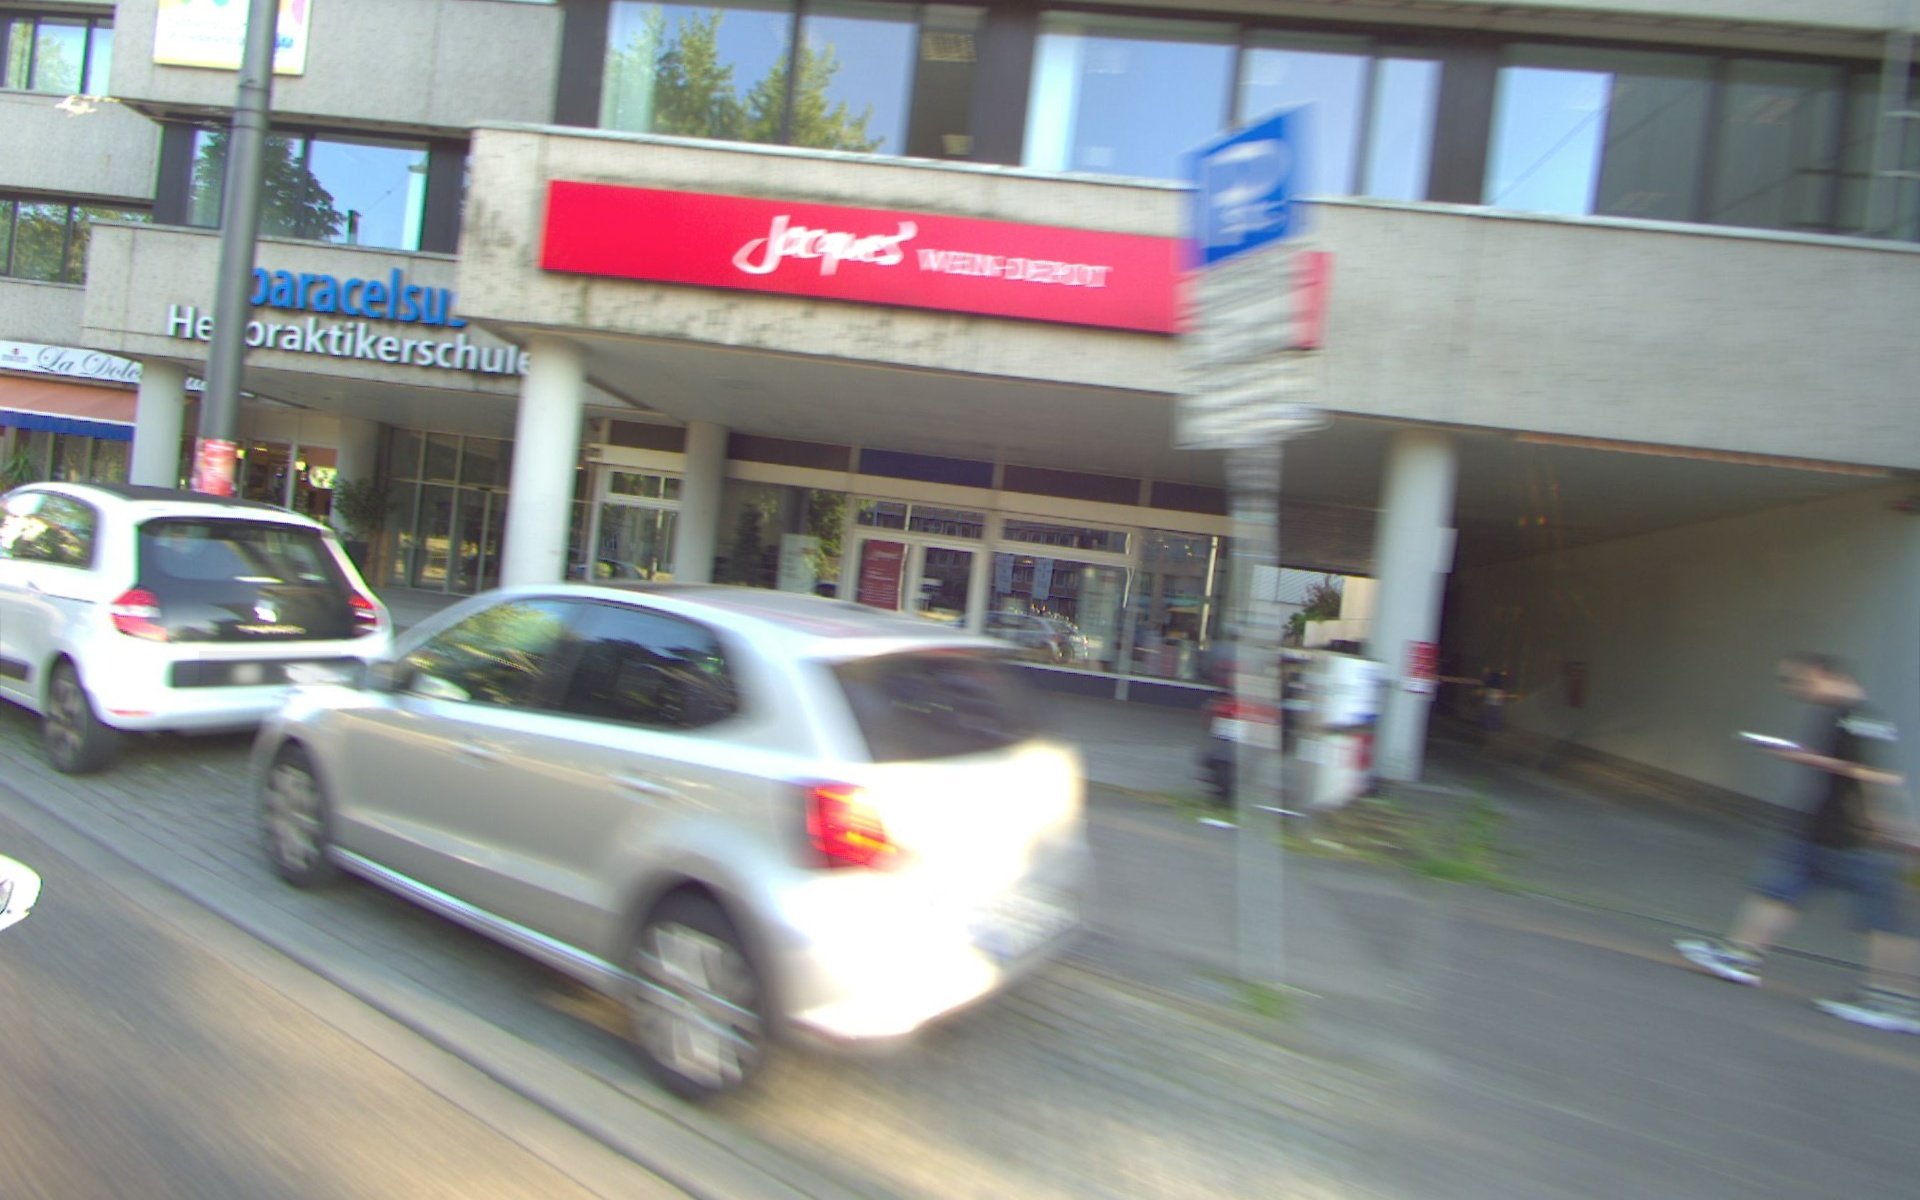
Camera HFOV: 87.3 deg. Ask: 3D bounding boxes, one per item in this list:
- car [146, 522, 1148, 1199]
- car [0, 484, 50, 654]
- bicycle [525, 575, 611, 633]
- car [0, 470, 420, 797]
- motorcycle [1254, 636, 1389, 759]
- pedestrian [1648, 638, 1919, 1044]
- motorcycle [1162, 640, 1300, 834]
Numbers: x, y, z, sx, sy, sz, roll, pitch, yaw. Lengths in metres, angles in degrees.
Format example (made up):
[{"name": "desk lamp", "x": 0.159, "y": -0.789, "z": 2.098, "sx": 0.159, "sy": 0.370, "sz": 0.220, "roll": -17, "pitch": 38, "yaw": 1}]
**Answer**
[{"name": "car", "x": -1.469, "y": 0.627, "z": 4.190, "sx": 3.935, "sy": 1.474, "sz": 1.786, "roll": 6, "pitch": 0, "yaw": 33}, {"name": "car", "x": -10.770, "y": -0.531, "z": 9.846, "sx": 3.934, "sy": 1.546, "sz": 1.643, "roll": 7, "pitch": -1, "yaw": 32}, {"name": "bicycle", "x": -6.543, "y": 0.082, "z": 16.860, "sx": 0.429, "sy": 0.838, "sz": 1.397, "roll": 7, "pitch": -1, "yaw": 22}, {"name": "car", "x": -5.511, "y": 0.084, "z": 6.687, "sx": 3.605, "sy": 1.609, "sz": 1.588, "roll": 7, "pitch": -1, "yaw": 30}, {"name": "motorcycle", "x": 4.337, "y": 1.166, "z": 12.005, "sx": 1.785, "sy": 1.309, "sz": 0.661, "roll": 6, "pitch": 1, "yaw": -44}, {"name": "pedestrian", "x": 3.967, "y": 1.065, "z": 4.703, "sx": 0.840, "sy": 1.649, "sz": 0.640, "roll": 7, "pitch": 3, "yaw": 8}, {"name": "motorcycle", "x": 2.217, "y": 0.979, "z": 7.995, "sx": 0.692, "sy": 1.205, "sz": 2.281, "roll": 7, "pitch": 2, "yaw": 21}]
